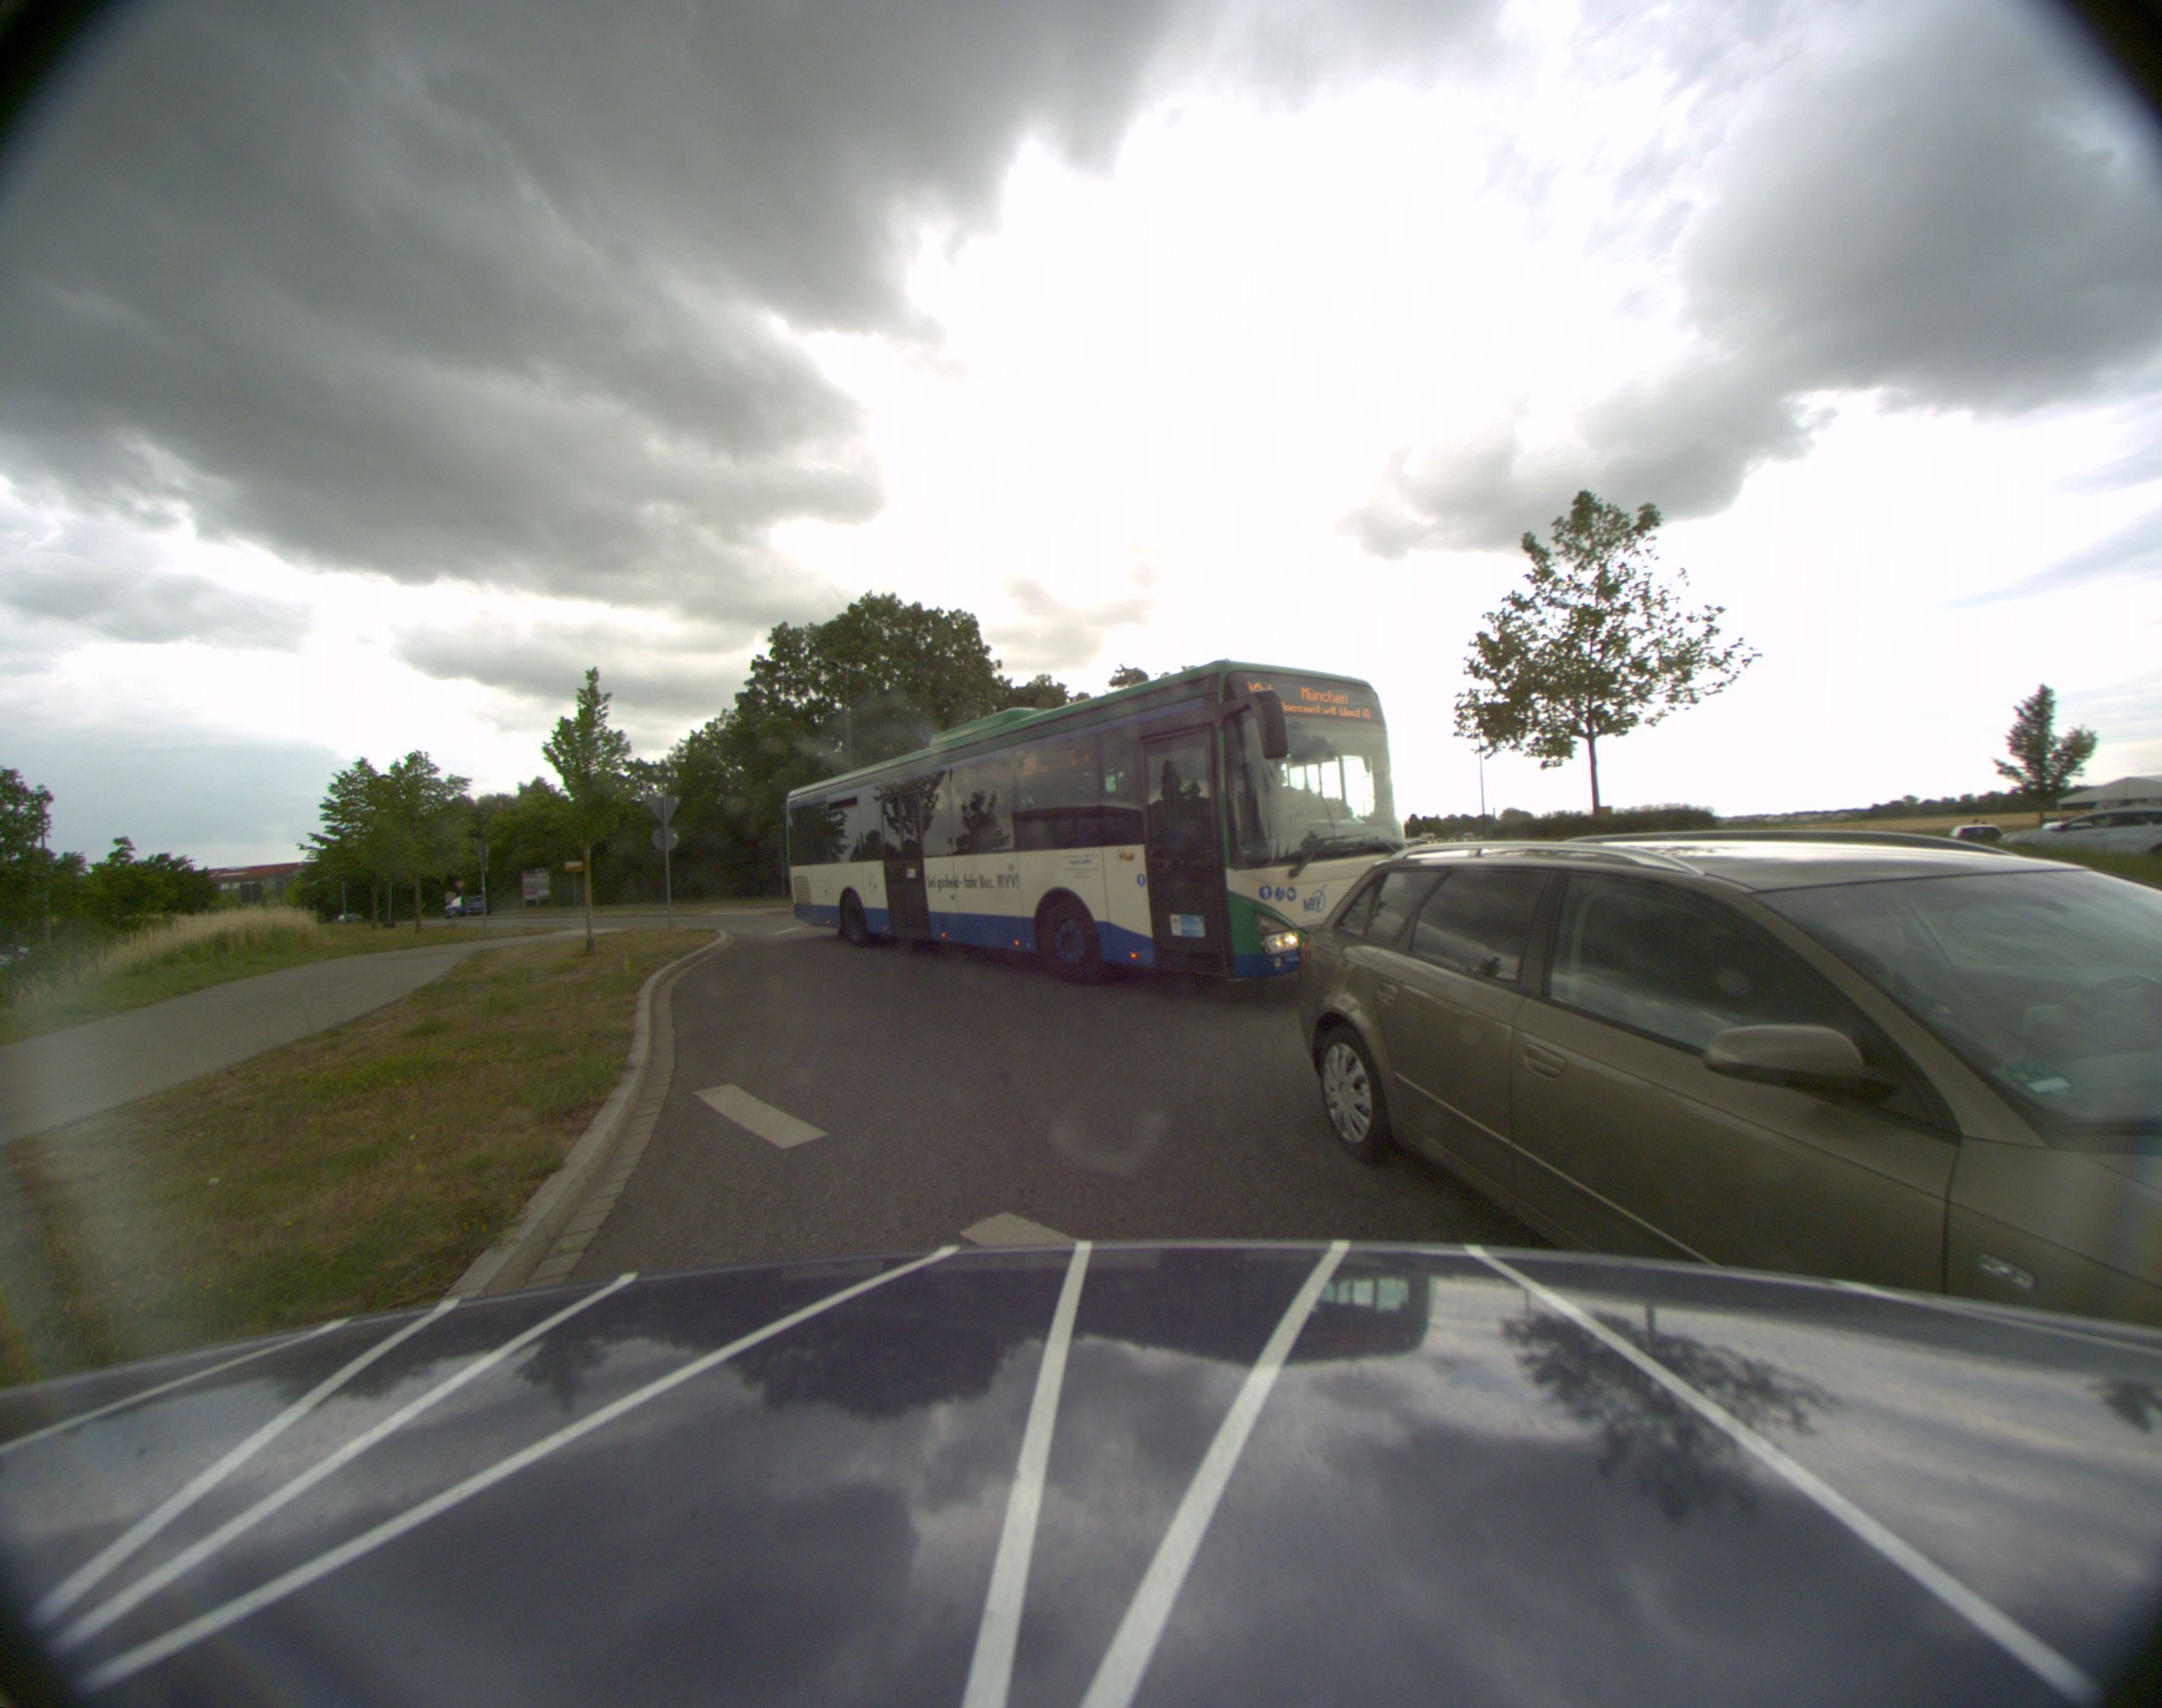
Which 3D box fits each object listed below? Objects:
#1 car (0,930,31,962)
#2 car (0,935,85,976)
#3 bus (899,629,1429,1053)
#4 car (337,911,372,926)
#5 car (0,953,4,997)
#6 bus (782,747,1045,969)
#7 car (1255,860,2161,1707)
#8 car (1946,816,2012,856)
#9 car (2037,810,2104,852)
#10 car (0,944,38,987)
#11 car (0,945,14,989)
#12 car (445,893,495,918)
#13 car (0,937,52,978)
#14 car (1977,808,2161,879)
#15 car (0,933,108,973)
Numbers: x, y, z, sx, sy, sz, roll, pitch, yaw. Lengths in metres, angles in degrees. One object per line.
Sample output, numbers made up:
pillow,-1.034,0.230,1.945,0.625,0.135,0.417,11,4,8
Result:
car,-53.260,4.549,35.980,1.879,1.435,4.007,-3,0,34
car,-46.709,4.497,32.991,3.896,1.455,1.693,-3,0,-42
bus,0.367,-0.115,9.190,2.529,3.239,6.531,-3,1,-36
car,-73.322,6.522,76.684,4.104,1.299,1.834,-3,-1,36
car,-36.974,4.088,23.500,3.896,1.455,1.693,-3,0,-42
bus,-3.321,0.031,14.009,2.529,3.239,5.446,-3,1,-38
car,2.205,0.806,2.145,1.783,1.456,4.537,-3,0,-8
car,43.331,-0.881,36.652,4.006,1.544,1.712,-5,0,-36
car,45.087,-1.063,34.603,4.006,1.544,1.712,-5,0,-36
car,-41.882,4.321,27.908,3.896,1.455,1.693,-3,0,-42
car,-39.719,4.099,25.676,3.896,1.455,1.693,-3,0,-42
car,-43.363,3.666,53.881,4.072,1.422,1.766,-6,0,38
car,-44.206,4.265,30.028,3.896,1.455,1.693,-3,0,-42
car,25.750,-0.281,18.844,1.713,1.616,4.449,-3,0,-2
car,-49.368,4.714,35.900,3.896,1.455,1.693,-3,0,-42
